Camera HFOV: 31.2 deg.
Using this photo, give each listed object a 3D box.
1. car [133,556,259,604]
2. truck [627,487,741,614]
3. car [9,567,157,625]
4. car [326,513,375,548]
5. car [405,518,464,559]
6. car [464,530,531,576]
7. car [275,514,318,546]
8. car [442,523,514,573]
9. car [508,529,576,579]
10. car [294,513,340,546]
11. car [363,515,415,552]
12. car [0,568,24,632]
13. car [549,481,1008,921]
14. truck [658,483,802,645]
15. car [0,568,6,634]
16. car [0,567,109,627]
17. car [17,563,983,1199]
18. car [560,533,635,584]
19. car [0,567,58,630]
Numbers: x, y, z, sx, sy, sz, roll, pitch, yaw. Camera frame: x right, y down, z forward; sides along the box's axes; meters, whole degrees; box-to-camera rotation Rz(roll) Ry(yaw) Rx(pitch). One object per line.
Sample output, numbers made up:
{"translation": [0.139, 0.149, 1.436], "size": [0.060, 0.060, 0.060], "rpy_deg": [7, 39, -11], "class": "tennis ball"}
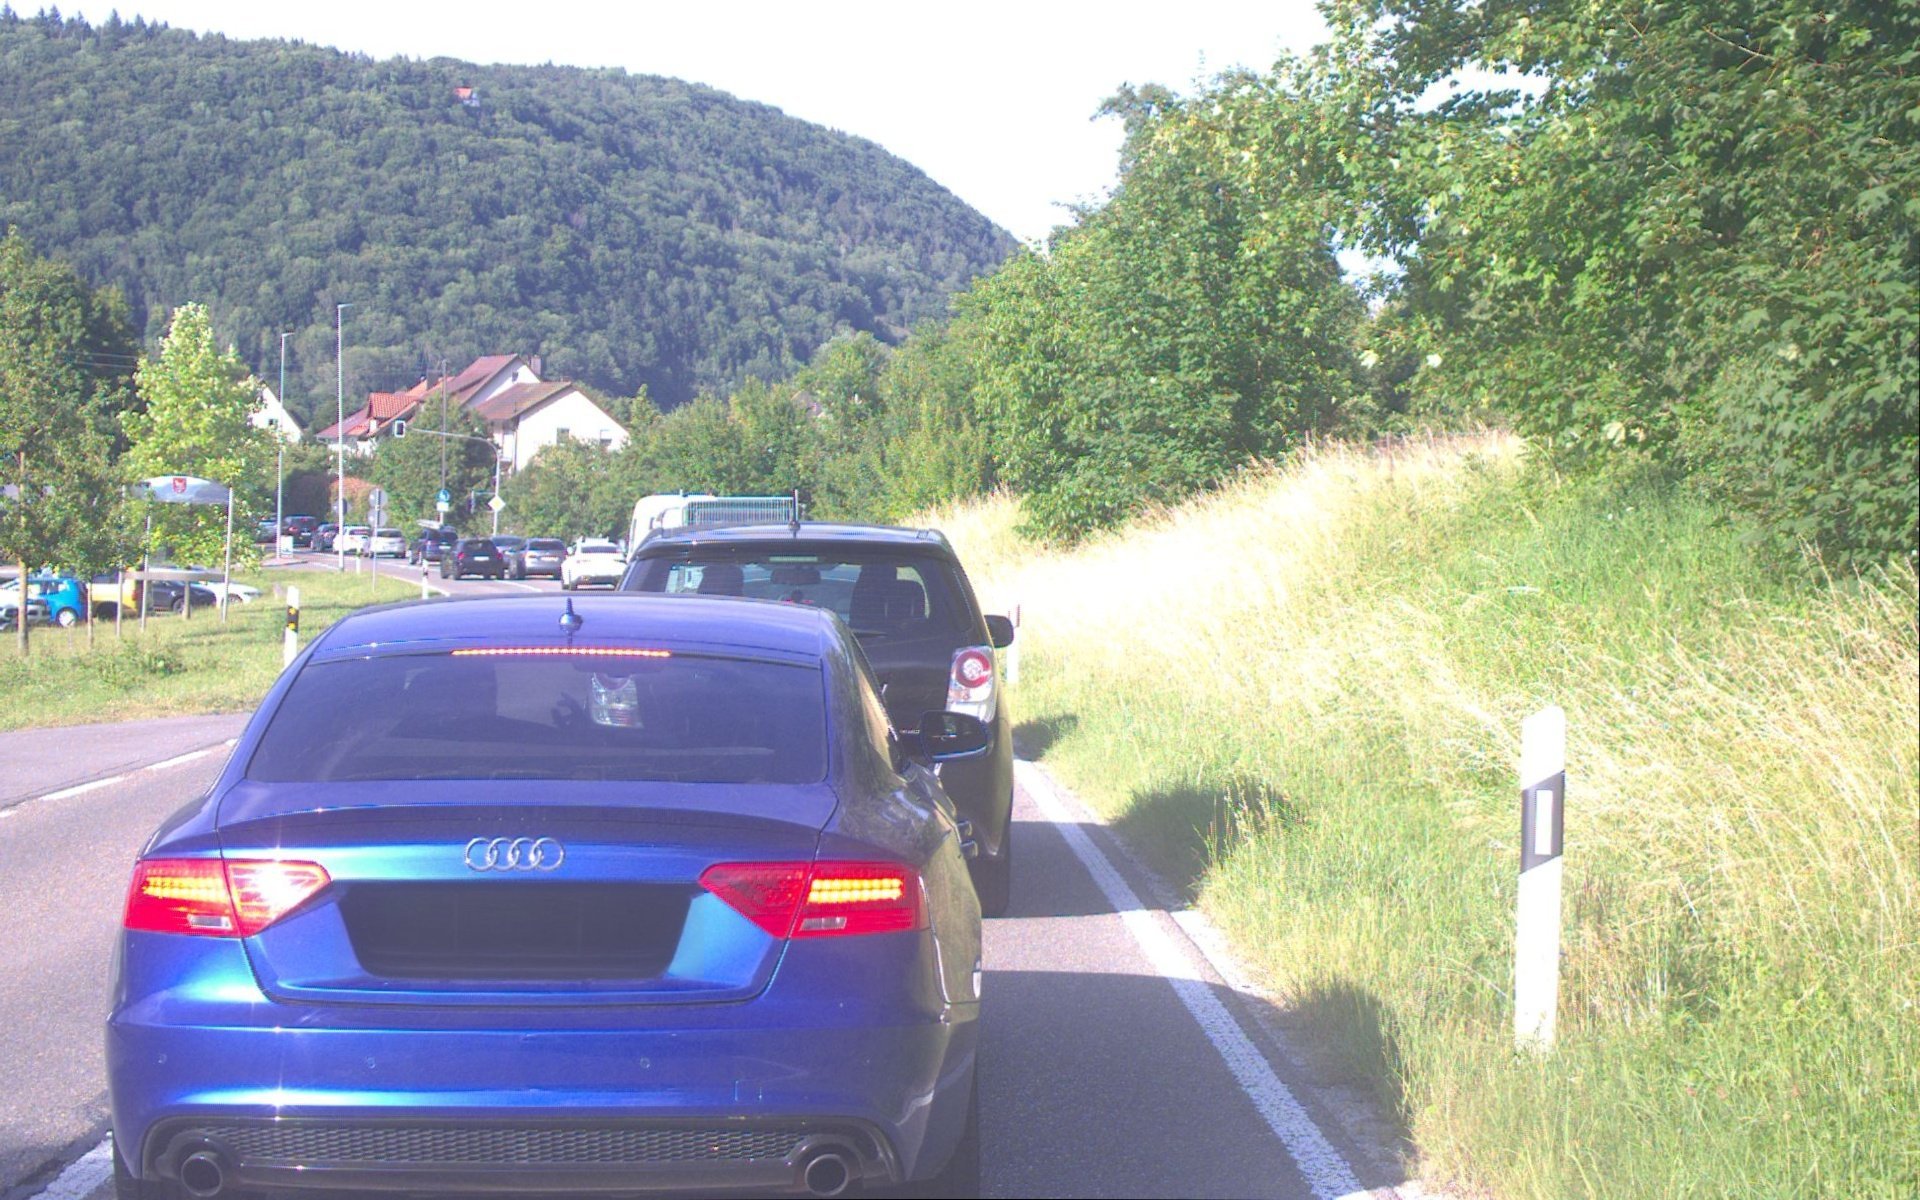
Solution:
{"translation": [-26.316, -0.694, 118.560], "size": [3.986, 1.573, 1.753], "rpy_deg": [1, 0, -3], "class": "car"}
{"translation": [-5.946, -1.048, 73.496], "size": [2.229, 2.561, 6.709], "rpy_deg": [1, 0, -6], "class": "truck"}
{"translation": [-26.516, -0.124, 103.999], "size": [3.986, 1.705, 2.000], "rpy_deg": [1, 0, -3], "class": "car"}
{"translation": [-30.953, -3.521, 174.570], "size": [1.845, 1.706, 4.001], "rpy_deg": [1, 1, -18], "class": "car"}
{"translation": [-22.987, -2.676, 150.233], "size": [1.845, 1.706, 4.001], "rpy_deg": [1, 1, -19], "class": "car"}
{"translation": [-17.697, -1.786, 131.524], "size": [1.845, 1.706, 4.001], "rpy_deg": [1, 0, -18], "class": "car"}
{"translation": [-36.997, -3.901, 191.594], "size": [1.845, 1.706, 4.001], "rpy_deg": [1, 1, -18], "class": "car"}
{"translation": [-16.792, -1.798, 119.698], "size": [1.845, 1.706, 4.001], "rpy_deg": [1, 0, -17], "class": "car"}
{"translation": [-14.724, -1.615, 121.017], "size": [1.845, 1.706, 4.001], "rpy_deg": [1, 0, -14], "class": "car"}
{"translation": [-34.079, -3.714, 182.125], "size": [1.845, 1.706, 4.001], "rpy_deg": [1, 1, -18], "class": "car"}
{"translation": [-27.544, -3.192, 165.838], "size": [1.845, 1.706, 4.001], "rpy_deg": [1, 1, -19], "class": "car"}
{"translation": [-27.369, -0.031, 92.253], "size": [3.986, 1.705, 2.000], "rpy_deg": [1, 0, -3], "class": "car"}
{"translation": [-0.691, 0.374, 15.224], "size": [1.754, 1.675, 3.846], "rpy_deg": [1, 0, 0], "class": "car"}
{"translation": [-3.827, -0.605, 58.075], "size": [2.229, 2.561, 6.104], "rpy_deg": [1, 0, -2], "class": "truck"}
{"translation": [-26.848, 0.009, 88.596], "size": [3.986, 1.705, 2.000], "rpy_deg": [1, 0, -3], "class": "car"}
{"translation": [-27.316, -0.111, 101.325], "size": [3.986, 1.705, 2.000], "rpy_deg": [1, 0, -3], "class": "car"}
{"translation": [-0.834, 0.639, 8.216], "size": [1.754, 1.425, 3.846], "rpy_deg": [1, 0, 0], "class": "car"}
{"translation": [-10.920, -1.255, 103.430], "size": [1.845, 1.477, 4.001], "rpy_deg": [1, 0, -12], "class": "car"}
{"translation": [-27.307, -0.059, 95.537], "size": [3.986, 1.705, 2.000], "rpy_deg": [1, 0, -3], "class": "car"}
